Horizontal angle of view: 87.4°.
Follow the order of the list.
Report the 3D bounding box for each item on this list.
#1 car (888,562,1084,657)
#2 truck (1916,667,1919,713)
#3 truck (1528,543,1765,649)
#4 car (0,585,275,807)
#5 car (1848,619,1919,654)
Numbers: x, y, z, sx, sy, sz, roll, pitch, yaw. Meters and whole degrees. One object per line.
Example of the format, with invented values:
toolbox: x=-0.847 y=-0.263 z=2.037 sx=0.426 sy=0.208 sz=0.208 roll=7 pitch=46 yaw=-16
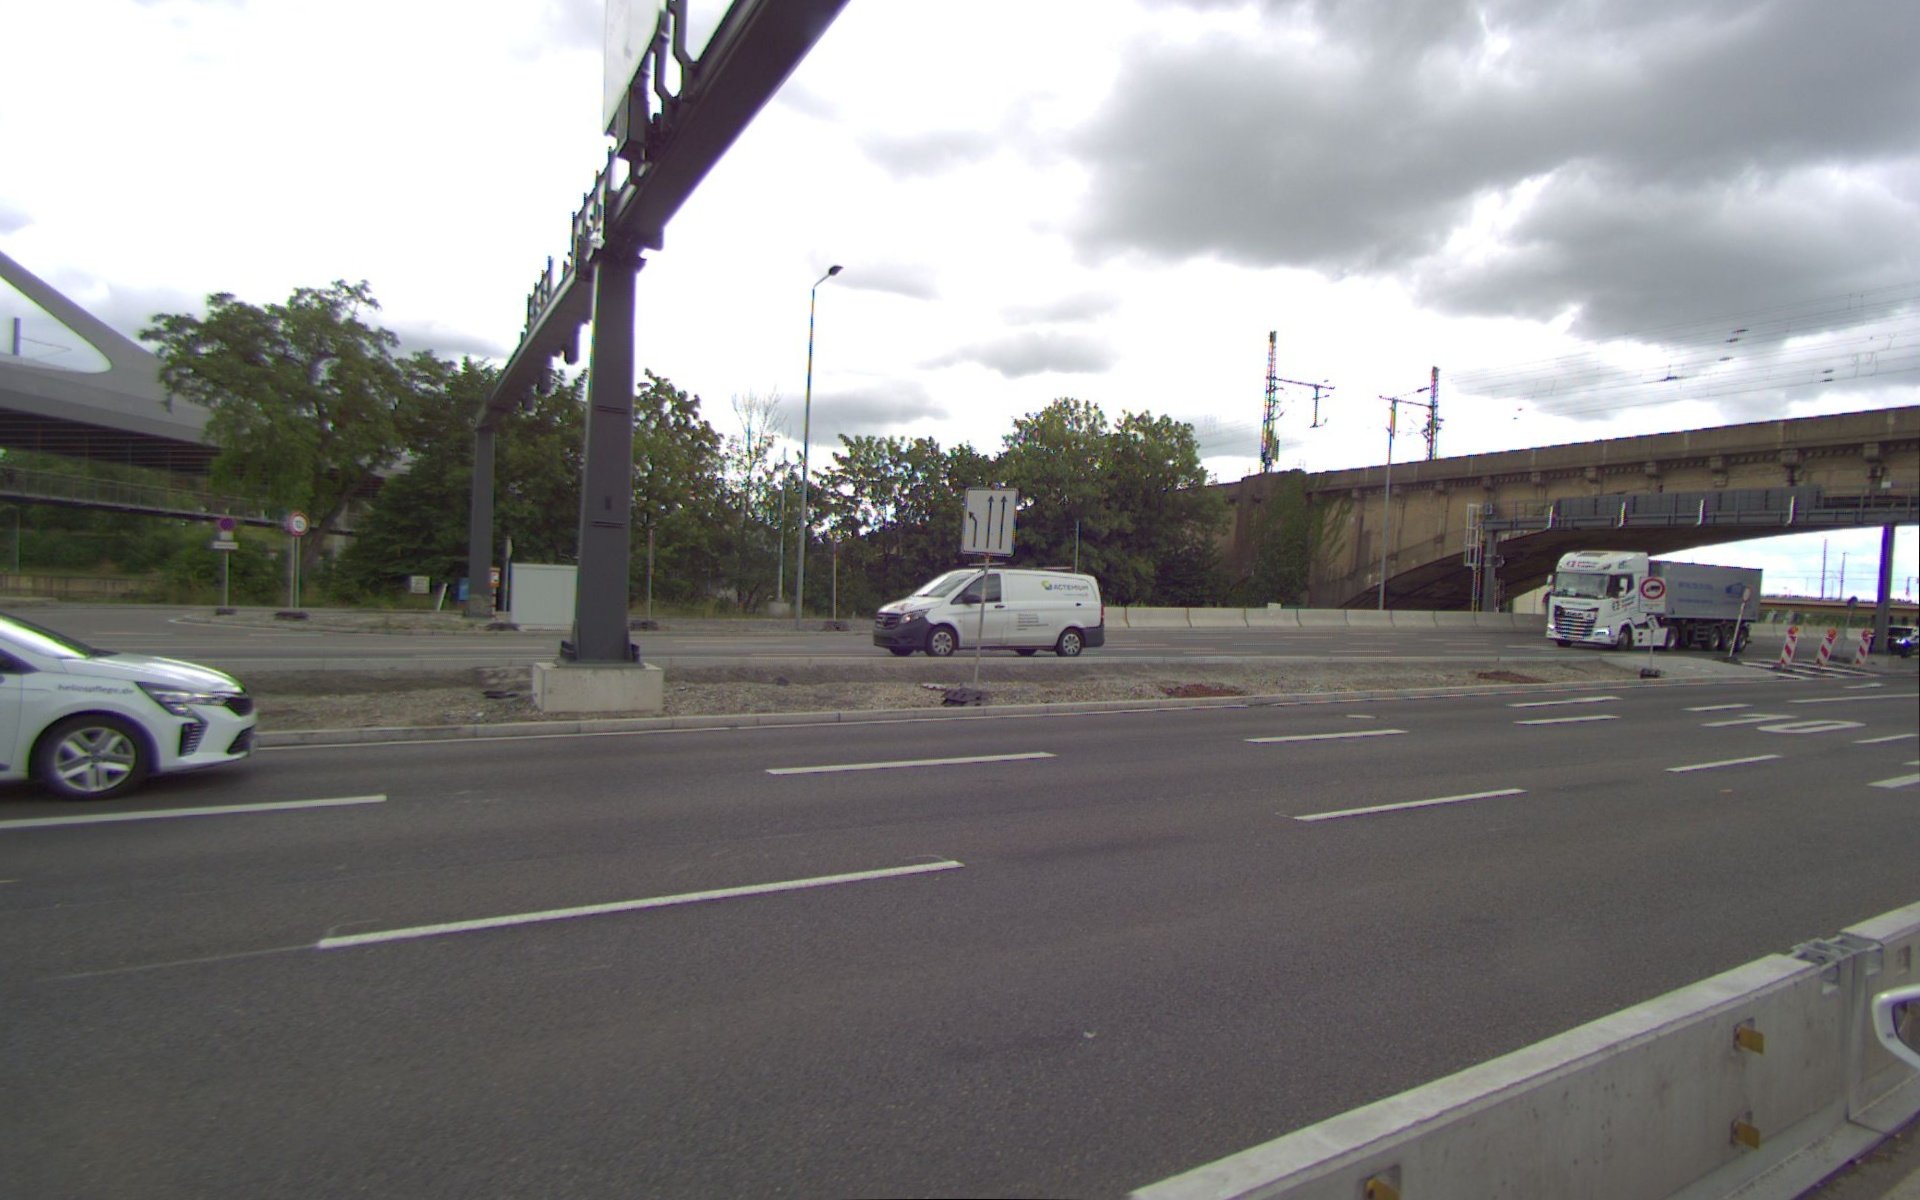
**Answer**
car: x=0.567 y=0.192 z=21.261 sx=3.757 sy=1.831 sz=1.816 roll=1 pitch=1 yaw=-31
truck: x=21.164 y=0.208 z=18.602 sx=10.101 sy=4.070 sz=2.898 roll=4 pitch=1 yaw=-35
truck: x=30.079 y=-0.074 z=43.635 sx=13.827 sy=4.116 sz=2.884 roll=1 pitch=1 yaw=-31
car: x=-7.409 y=0.636 z=7.214 sx=3.949 sy=1.504 sz=1.569 roll=1 pitch=0 yaw=-29
car: x=44.656 y=1.779 z=48.405 sx=4.405 sy=1.642 sz=1.696 roll=2 pitch=-2 yaw=-33
